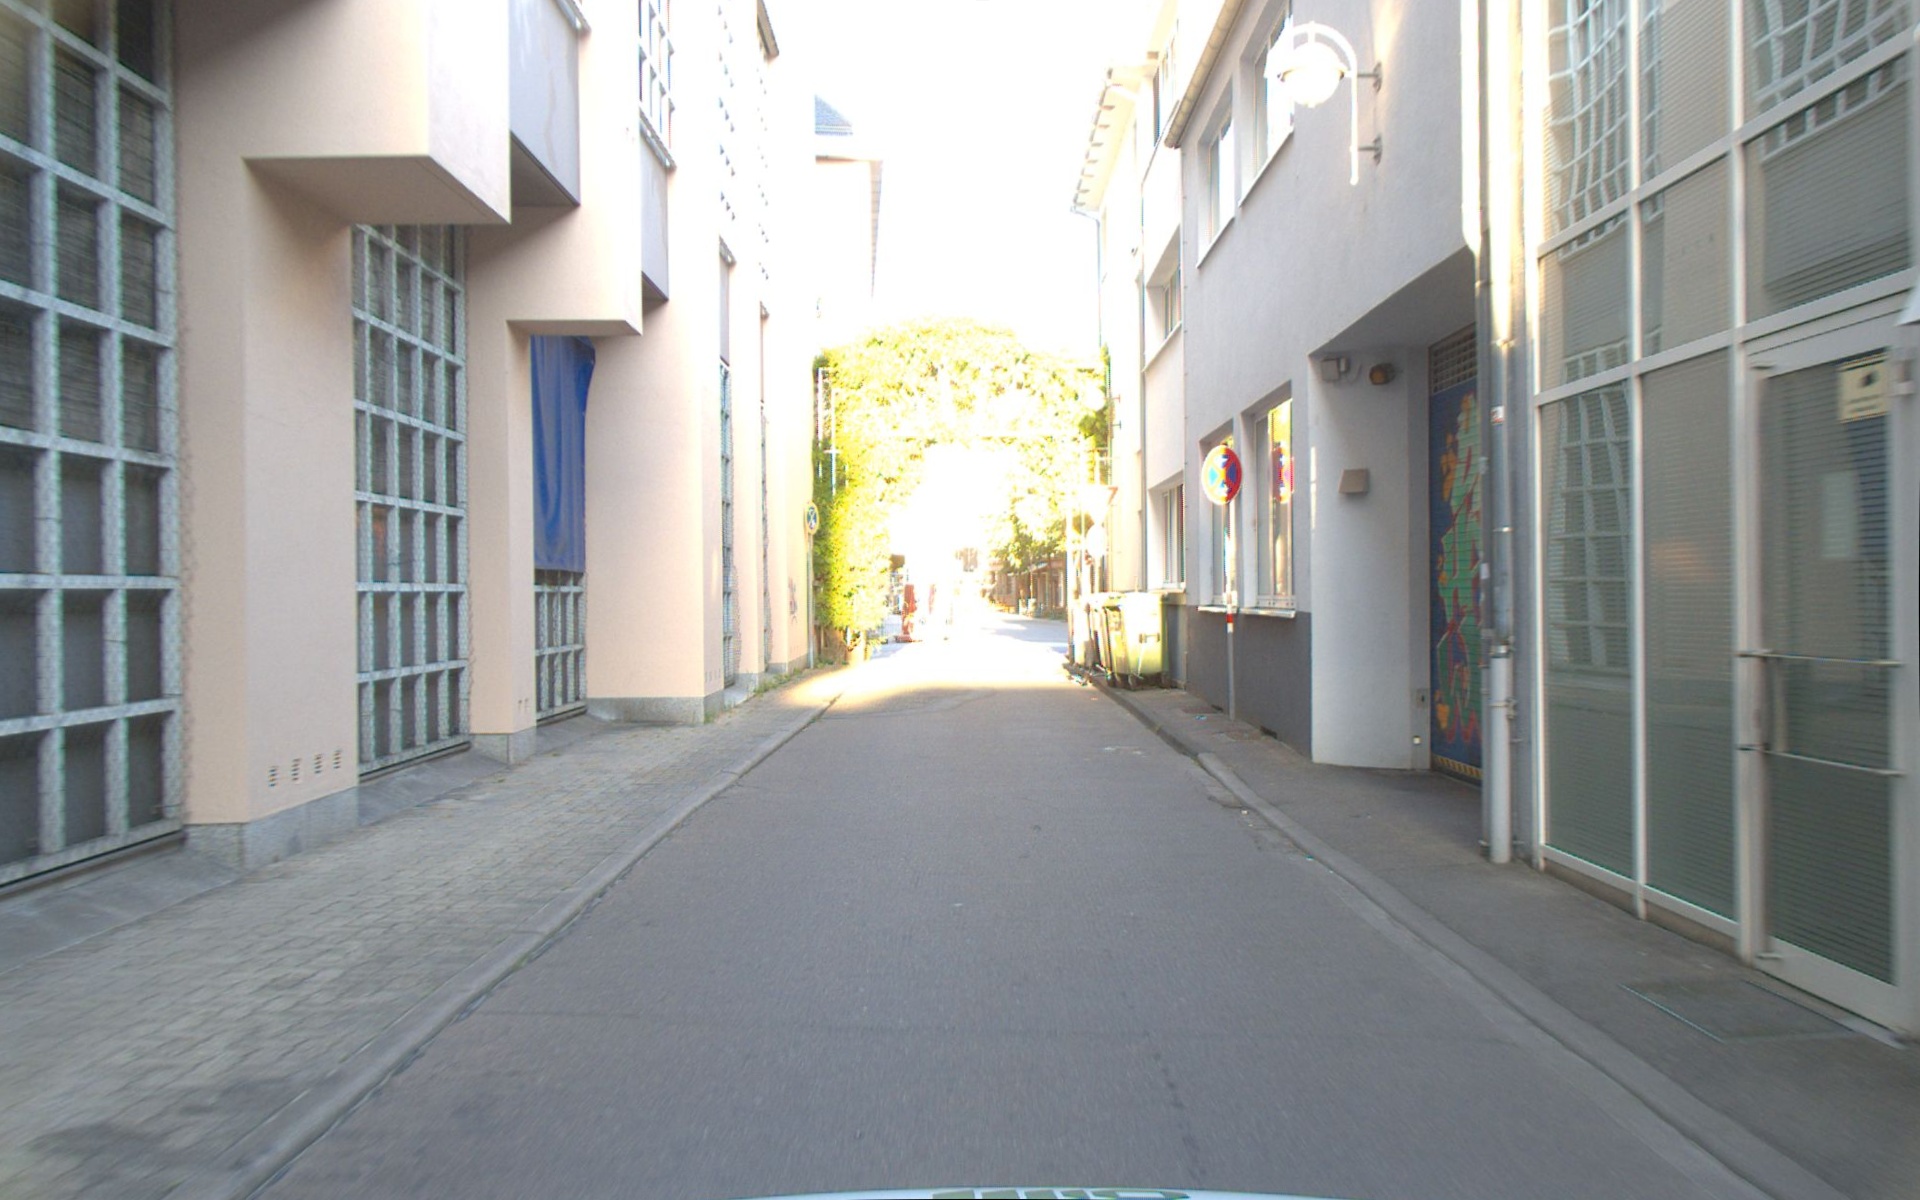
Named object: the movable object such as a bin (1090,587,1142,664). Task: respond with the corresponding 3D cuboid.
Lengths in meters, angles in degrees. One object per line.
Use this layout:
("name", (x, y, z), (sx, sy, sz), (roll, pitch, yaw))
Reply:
("movable object such as a bin", (2.806, 0.447, 29.903), (0.818, 1.327, 1.290), (-3, 0, 3))

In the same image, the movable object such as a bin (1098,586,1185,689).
("movable object such as a bin", (2.605, 0.530, 23.846), (0.919, 1.390, 1.340), (-3, 0, -6))

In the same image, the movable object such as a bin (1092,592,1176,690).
("movable object such as a bin", (2.637, 0.611, 25.251), (1.043, 1.390, 1.341), (-3, 0, -2))

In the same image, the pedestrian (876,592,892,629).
("pedestrian", (-3.701, 0.517, 80.473), (0.640, 1.795, 0.634), (-1, 0, 3))
